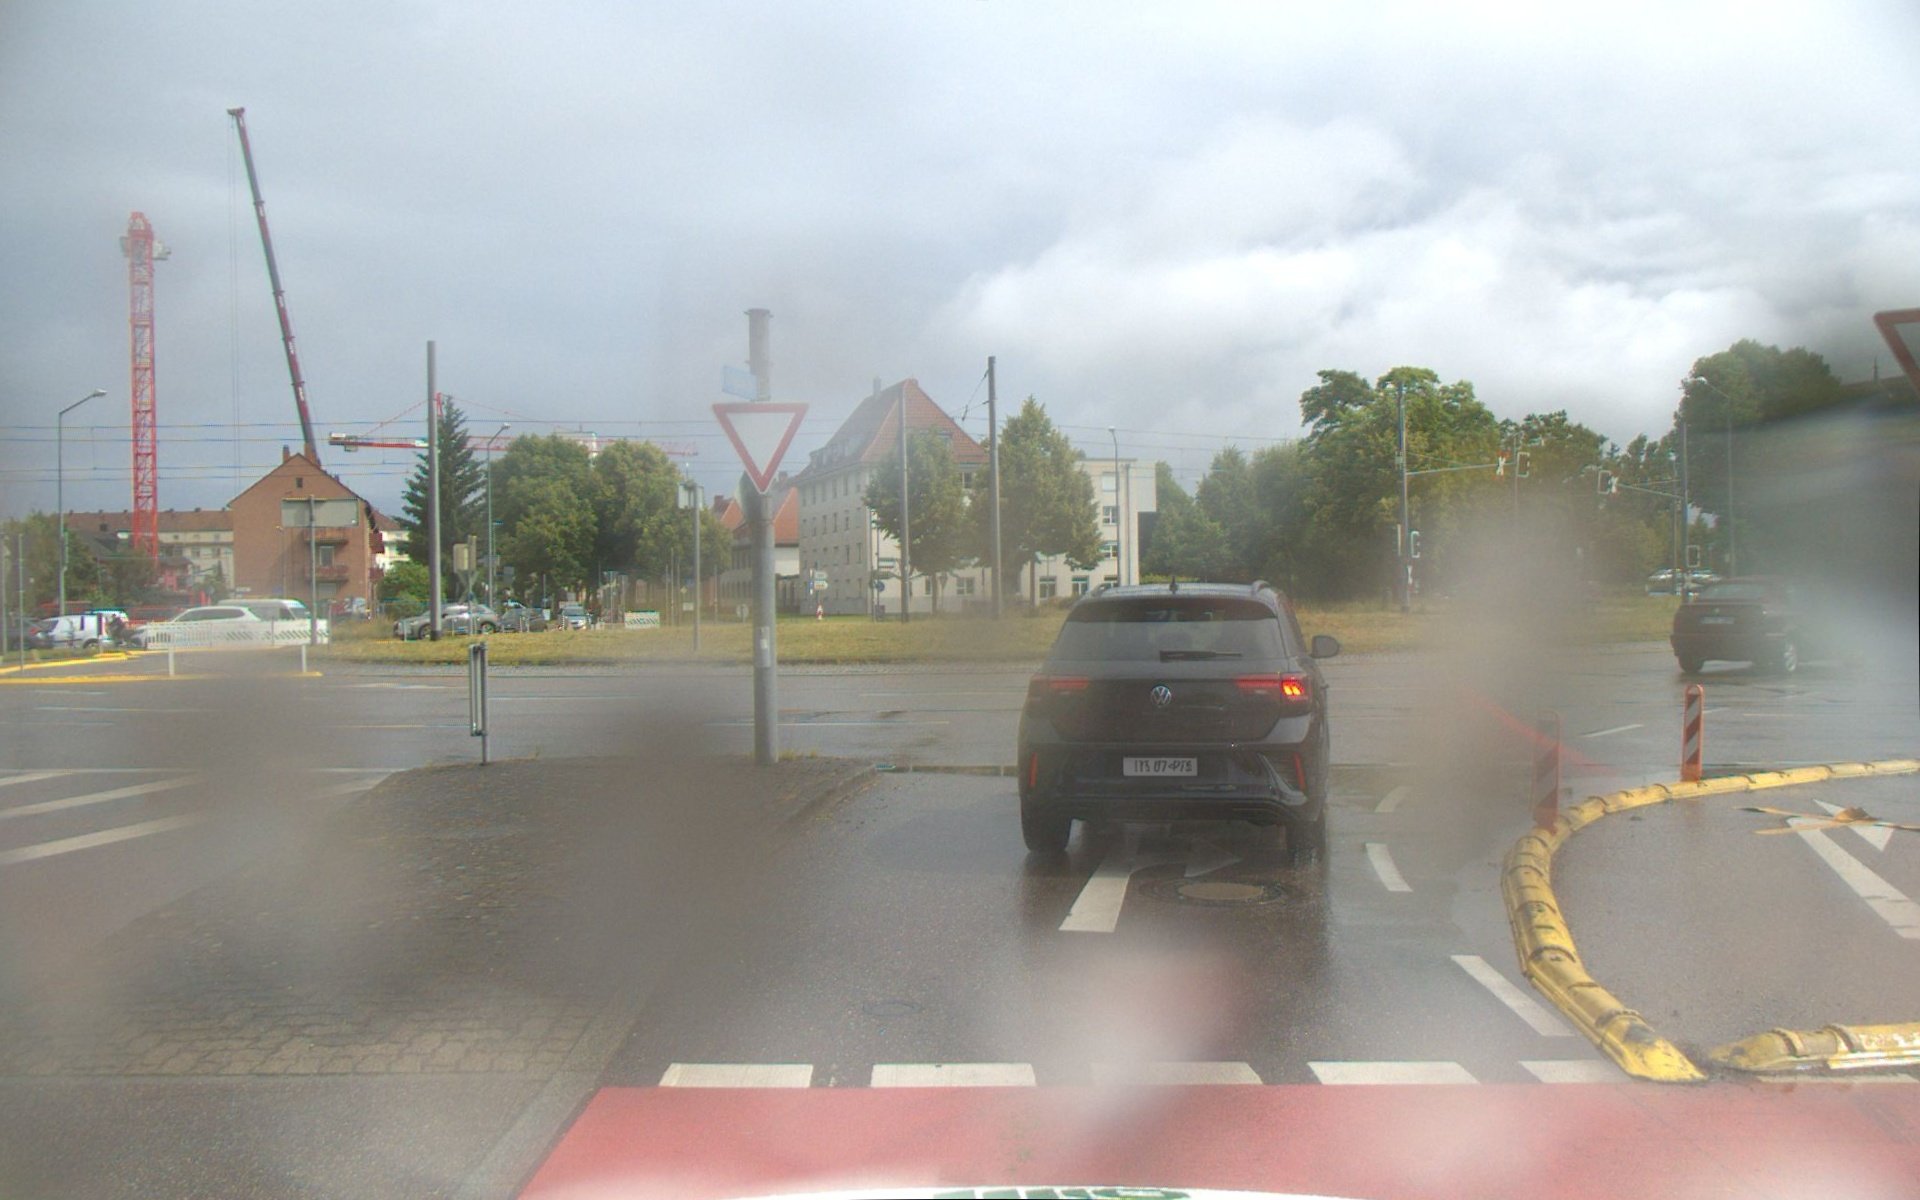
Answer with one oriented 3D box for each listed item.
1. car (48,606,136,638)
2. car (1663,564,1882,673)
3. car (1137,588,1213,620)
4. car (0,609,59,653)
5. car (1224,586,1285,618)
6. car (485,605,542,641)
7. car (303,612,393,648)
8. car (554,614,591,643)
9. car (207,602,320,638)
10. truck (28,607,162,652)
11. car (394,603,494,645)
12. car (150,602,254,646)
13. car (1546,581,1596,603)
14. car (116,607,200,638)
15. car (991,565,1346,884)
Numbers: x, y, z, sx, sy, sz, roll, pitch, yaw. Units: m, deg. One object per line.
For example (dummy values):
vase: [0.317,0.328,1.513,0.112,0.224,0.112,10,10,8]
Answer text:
car: [-48.637,1.235,92.680,3.905,1.730,1.857,1,-1,0]
car: [12.601,0.240,25.563,3.967,1.488,1.694,-3,1,-42]
car: [10.646,0.203,81.888,3.422,1.479,1.548,-1,1,29]
car: [-34.963,1.149,59.891,3.936,1.543,1.789,-2,0,-25]
car: [19.897,0.110,111.977,2.072,2.093,5.140,-2,1,-15]
car: [-21.400,1.096,79.374,1.756,1.612,3.998,-1,0,-2]
car: [-31.780,1.537,85.969,1.958,1.713,3.989,-1,0,33]
car: [-22.233,1.626,94.968,1.514,1.588,3.497,-1,0,-4]
car: [-42.604,1.205,101.217,6.112,2.121,2.045,1,0,8]
truck: [-45.524,1.530,87.083,5.951,2.250,2.399,1,0,9]
car: [-21.362,0.973,68.571,1.547,1.588,3.653,0,1,44]
car: [-28.738,0.883,62.716,3.452,1.536,1.485,-1,1,-30]
car: [44.277,-0.564,119.913,1.617,1.537,3.637,-1,0,-14]
car: [-45.845,1.275,94.595,3.903,1.730,1.931,0,0,4]
car: [1.466,0.604,10.666,1.857,1.646,4.004,0,1,11]
